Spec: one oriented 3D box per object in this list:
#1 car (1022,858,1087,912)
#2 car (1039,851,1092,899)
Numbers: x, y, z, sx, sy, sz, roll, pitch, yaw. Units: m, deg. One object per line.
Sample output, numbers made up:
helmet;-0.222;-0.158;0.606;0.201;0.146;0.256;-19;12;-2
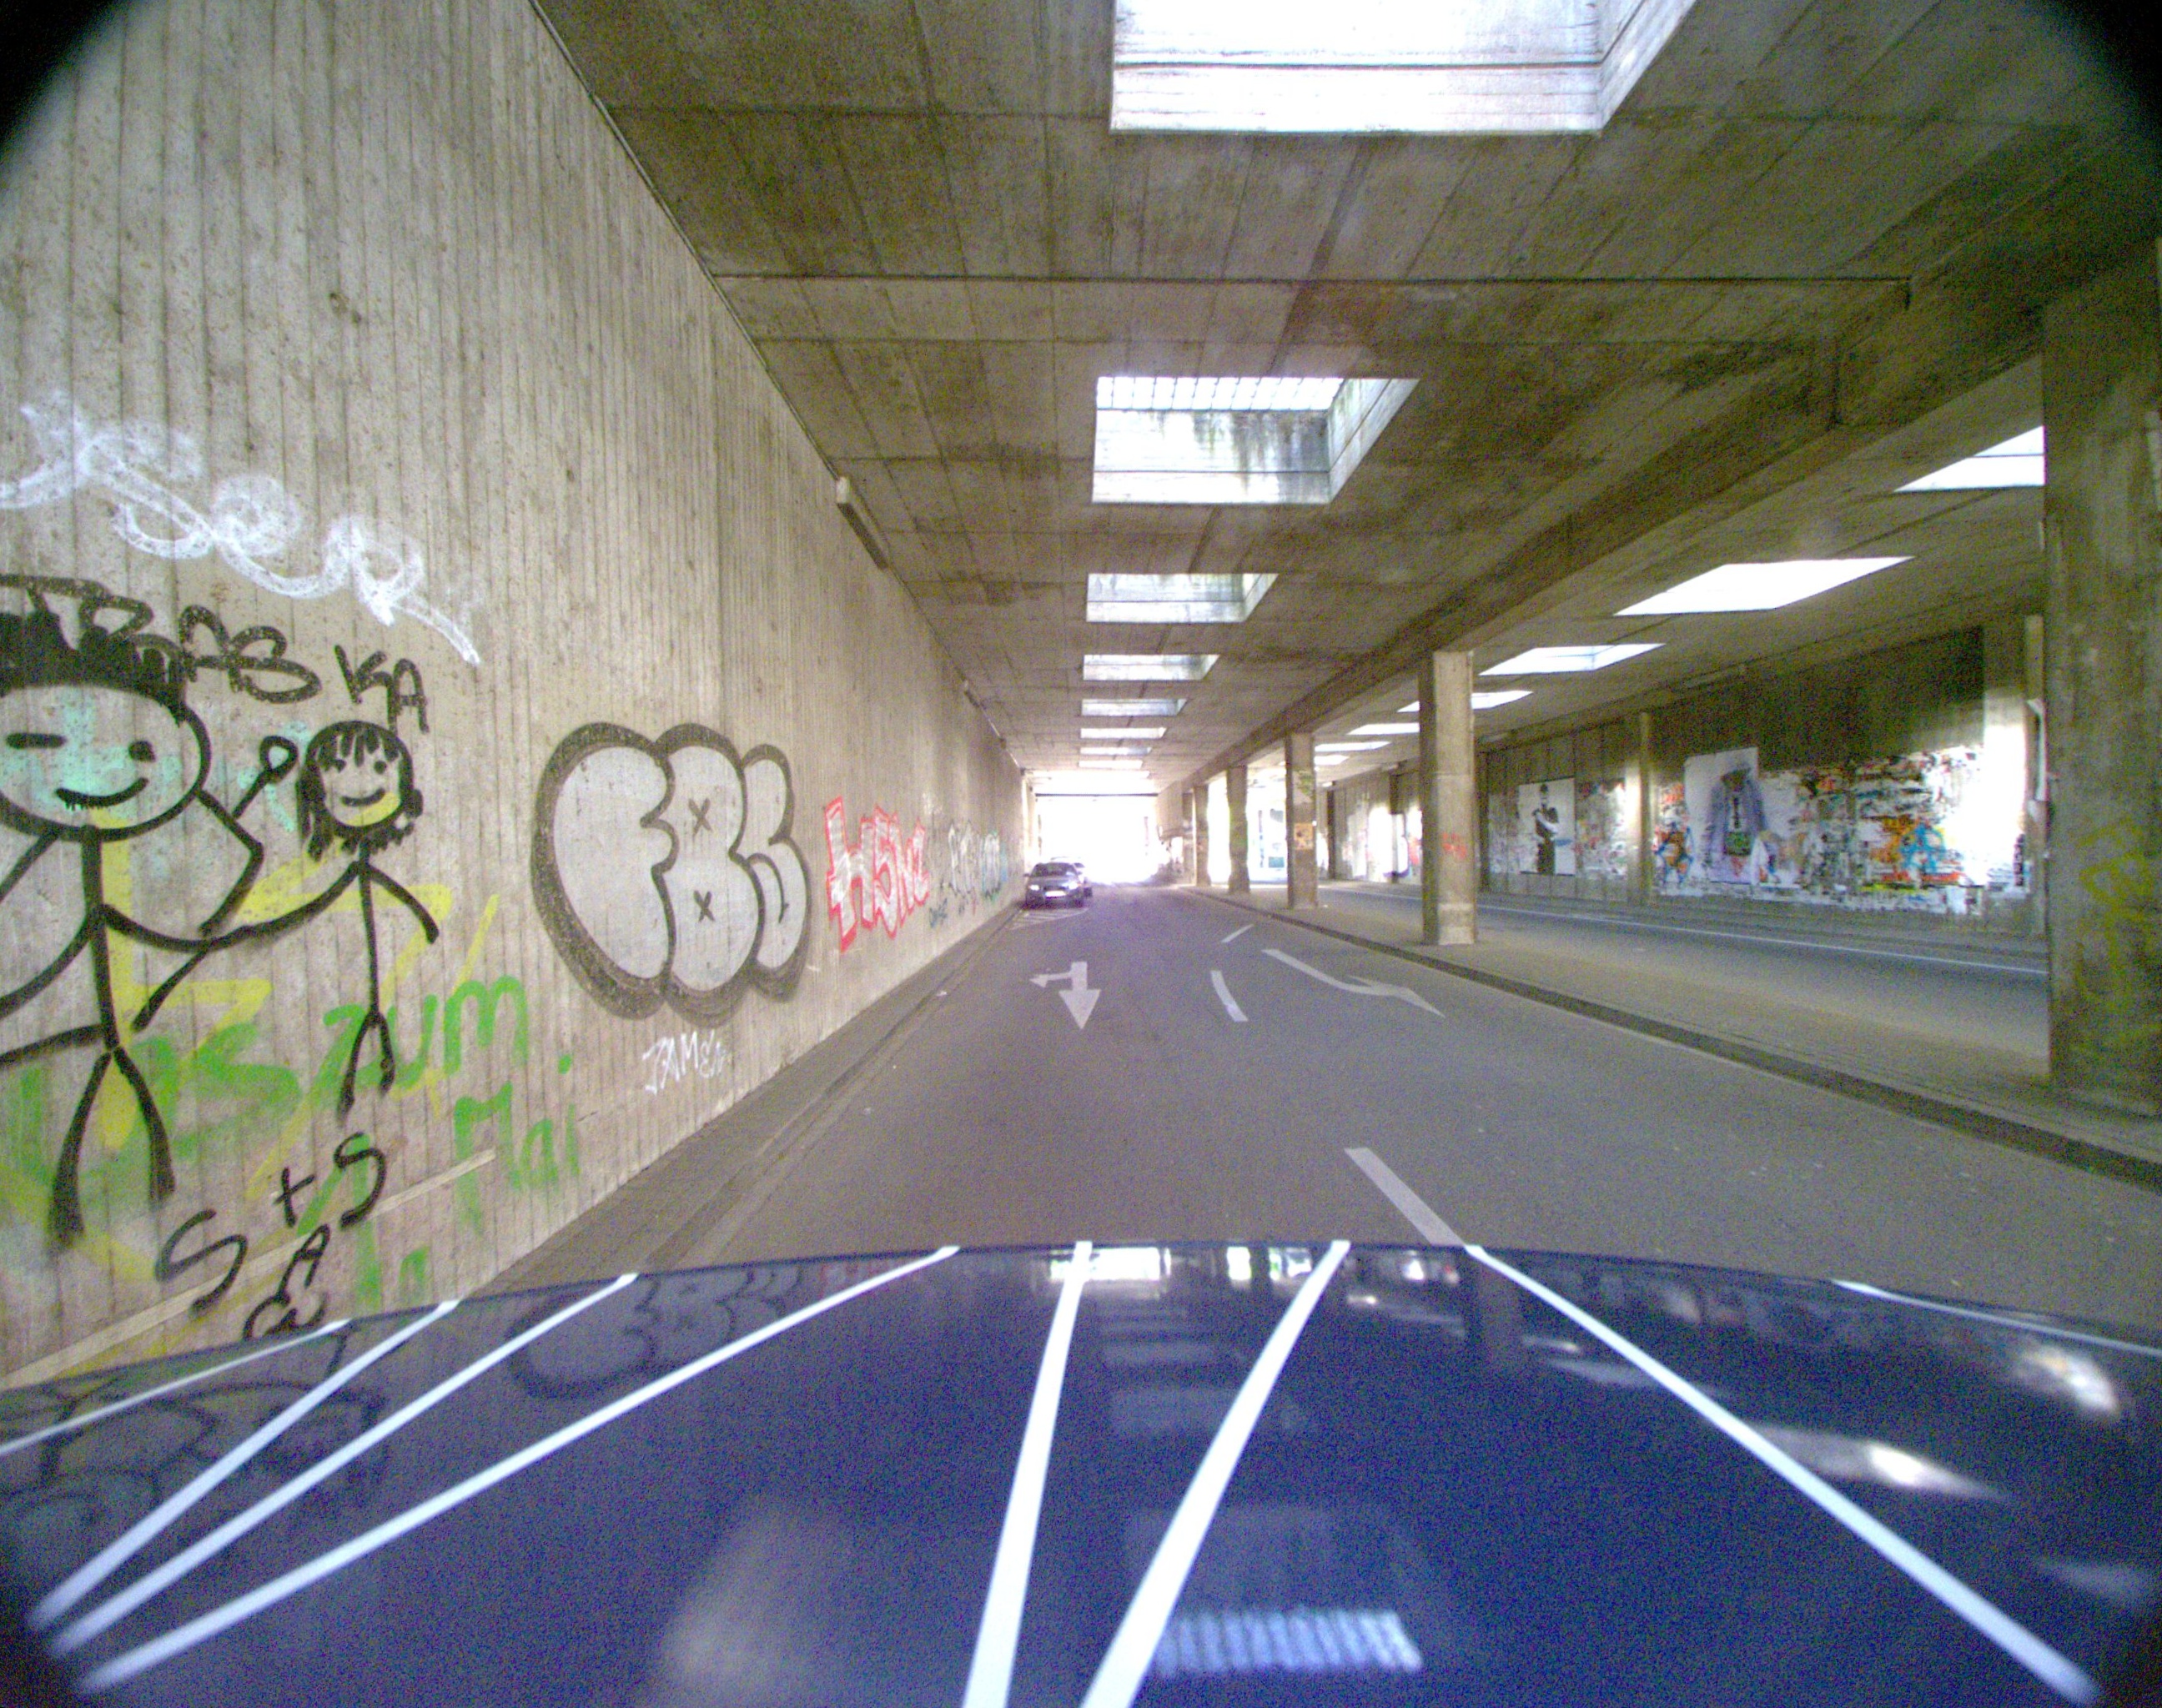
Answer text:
car;-0.743;0.916;24.054;1.808;1.460;4.000;-2;0;1
car;-0.540;0.766;29.807;1.861;1.709;4.000;-2;0;1
